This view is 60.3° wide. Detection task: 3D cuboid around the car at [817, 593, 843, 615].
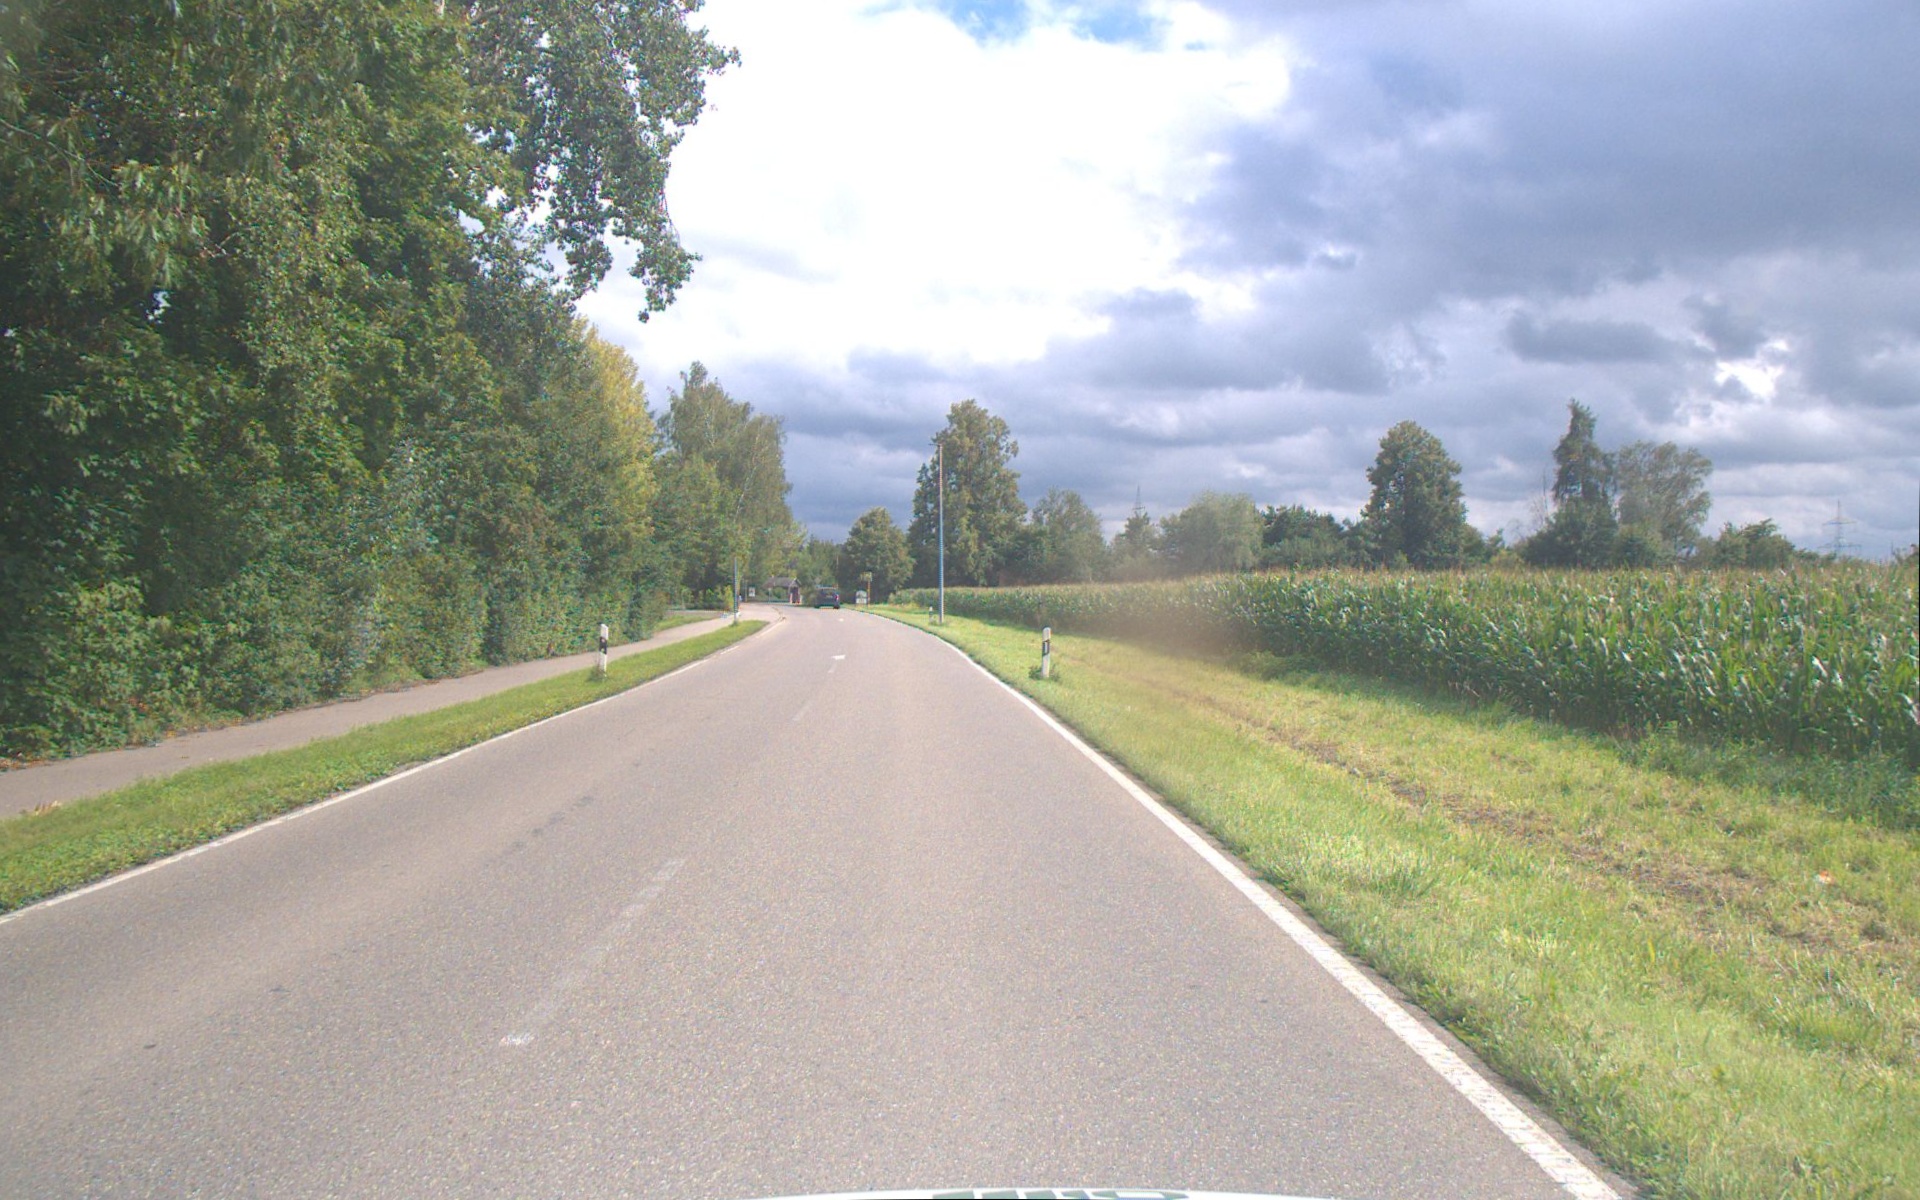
[{"bbox_3d":[-10.424,0.319,132.235,1.955,1.613,3.995,2,-1,-6],"label":"car"}]
